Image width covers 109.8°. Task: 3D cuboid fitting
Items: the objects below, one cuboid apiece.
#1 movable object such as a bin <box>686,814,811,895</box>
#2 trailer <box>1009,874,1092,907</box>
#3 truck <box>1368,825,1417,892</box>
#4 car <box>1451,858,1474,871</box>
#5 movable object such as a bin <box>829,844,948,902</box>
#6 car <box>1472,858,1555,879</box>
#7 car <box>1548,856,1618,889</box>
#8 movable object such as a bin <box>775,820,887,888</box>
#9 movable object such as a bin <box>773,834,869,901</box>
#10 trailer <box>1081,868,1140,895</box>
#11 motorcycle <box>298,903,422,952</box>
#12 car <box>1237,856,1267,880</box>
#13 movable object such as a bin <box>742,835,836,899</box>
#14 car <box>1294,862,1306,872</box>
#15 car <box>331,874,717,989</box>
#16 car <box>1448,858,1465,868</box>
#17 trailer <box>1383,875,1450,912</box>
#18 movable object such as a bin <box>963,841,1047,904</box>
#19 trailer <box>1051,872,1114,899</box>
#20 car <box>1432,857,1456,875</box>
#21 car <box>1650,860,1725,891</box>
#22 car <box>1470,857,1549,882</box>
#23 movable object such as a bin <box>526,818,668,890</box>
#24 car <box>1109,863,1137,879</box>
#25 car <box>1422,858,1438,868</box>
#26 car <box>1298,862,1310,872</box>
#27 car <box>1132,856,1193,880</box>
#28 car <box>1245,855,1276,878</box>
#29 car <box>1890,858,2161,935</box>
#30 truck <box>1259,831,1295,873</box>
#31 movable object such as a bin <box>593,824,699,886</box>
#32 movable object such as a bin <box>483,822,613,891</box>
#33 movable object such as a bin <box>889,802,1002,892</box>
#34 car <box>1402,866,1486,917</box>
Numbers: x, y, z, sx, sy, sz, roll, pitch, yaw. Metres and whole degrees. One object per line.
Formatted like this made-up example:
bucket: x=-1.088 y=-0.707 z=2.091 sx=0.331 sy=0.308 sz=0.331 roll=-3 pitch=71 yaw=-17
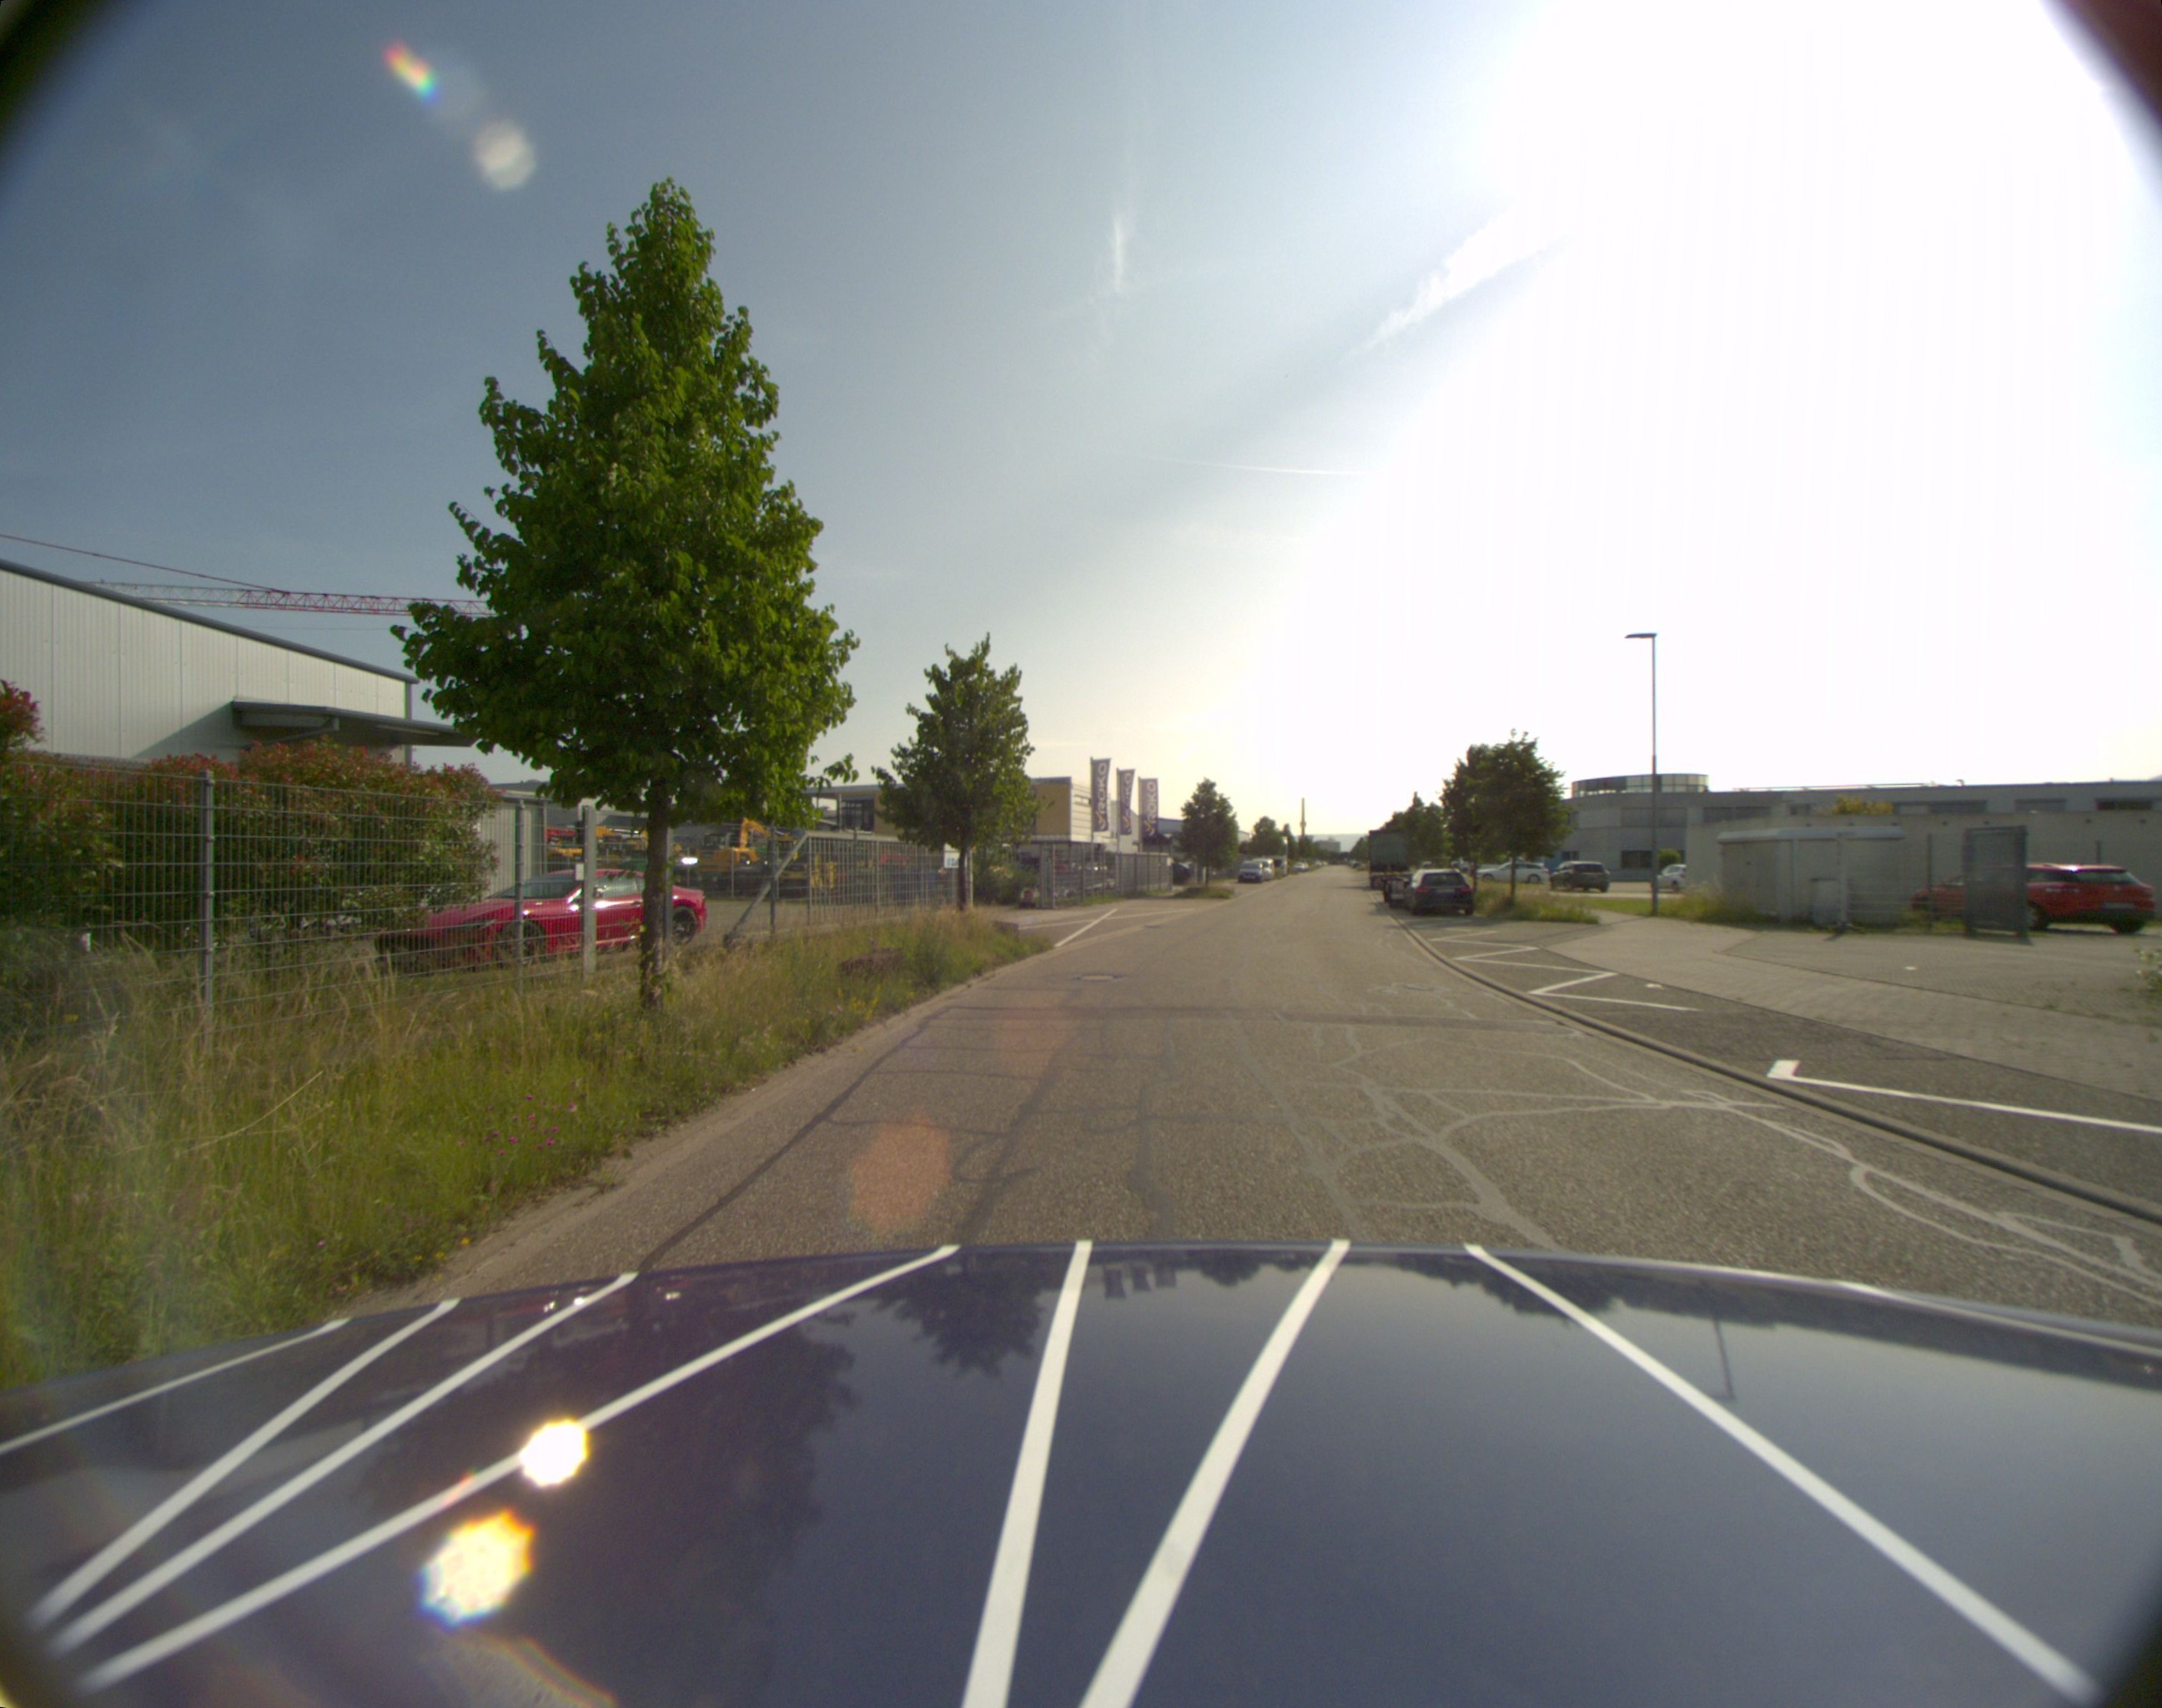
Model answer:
movable object such as a bin: x=-16.945 y=0.044 z=39.149 sx=2.686 sy=3.851 sz=5.727 roll=0 pitch=0 yaw=20
trailer: x=-1.247 y=1.566 z=33.806 sx=2.128 sy=1.236 sz=4.802 roll=0 pitch=0 yaw=18
truck: x=20.089 y=0.273 z=49.395 sx=2.458 sy=3.858 sz=9.817 roll=-2 pitch=0 yaw=20
car: x=48.248 y=1.323 z=96.197 sx=1.944 sy=1.597 sz=4.516 roll=0 pitch=-1 yaw=19
movable object such as a bin: x=-8.882 y=0.828 z=35.682 sx=2.925 sy=2.477 sz=5.347 roll=0 pitch=0 yaw=20
car: x=30.017 y=1.018 z=52.920 sx=4.732 sy=1.422 sz=2.003 roll=0 pitch=0 yaw=18
car: x=27.462 y=0.977 z=41.760 sx=1.996 sy=1.676 sz=4.706 roll=0 pitch=0 yaw=18
movable object such as a bin: x=-15.385 y=0.032 z=47.364 sx=2.921 sy=3.906 sz=7.218 roll=1 pitch=0 yaw=18
movable object such as a bin: x=-12.409 y=0.600 z=36.631 sx=1.995 sy=3.014 sz=4.499 roll=0 pitch=0 yaw=20
trailer: x=1.715 y=1.528 z=42.912 sx=1.995 sy=1.303 sz=4.570 roll=0 pitch=0 yaw=20
motorcycle: x=-13.204 y=1.319 z=13.976 sx=0.535 sy=0.747 sz=1.585 roll=1 pitch=0 yaw=19
car: x=13.134 y=1.043 z=58.248 sx=1.828 sy=1.710 sz=4.254 roll=0 pitch=0 yaw=18
movable object such as a bin: x=-14.443 y=0.629 z=37.866 sx=1.995 sy=3.014 sz=4.380 roll=0 pitch=0 yaw=20
car: x=34.149 y=2.071 z=118.315 sx=1.666 sy=1.495 sz=3.546 roll=2 pitch=0 yaw=19
car: x=-8.286 y=1.035 z=12.023 sx=1.883 sy=1.350 sz=4.779 roll=0 pitch=0 yaw=16
car: x=53.394 y=1.292 z=107.975 sx=1.756 sy=1.459 sz=3.924 roll=0 pitch=-1 yaw=20
trailer: x=13.337 y=1.514 z=30.600 sx=2.132 sy=1.225 sz=7.169 roll=-2 pitch=-1 yaw=21
movable object such as a bin: x=-3.448 y=0.812 z=35.683 sx=1.888 sy=2.736 sz=5.168 roll=0 pitch=0 yaw=20
trailer: x=0.139 y=1.539 z=38.236 sx=1.946 sy=1.236 sz=4.300 roll=0 pitch=0 yaw=18
car: x=41.934 y=1.432 z=87.888 sx=1.883 sy=2.001 sz=4.999 roll=1 pitch=-1 yaw=19
car: x=32.111 y=1.085 z=40.379 sx=1.707 sy=1.507 sz=4.219 roll=1 pitch=0 yaw=18
car: x=31.184 y=1.123 z=55.459 sx=4.709 sy=1.825 sz=2.106 roll=-1 pitch=0 yaw=19
movable object such as a bin: x=-28.216 y=-0.017 z=44.743 sx=2.469 sy=3.906 sz=7.211 roll=1 pitch=0 yaw=15
car: x=4.171 y=1.684 z=74.776 sx=1.892 sy=1.547 sz=4.376 roll=0 pitch=-1 yaw=14
car: x=50.022 y=1.236 z=109.040 sx=1.756 sy=1.401 sz=3.924 roll=0 pitch=-1 yaw=20
car: x=36.906 y=2.116 z=125.856 sx=1.691 sy=1.495 sz=3.546 roll=2 pitch=0 yaw=19
car: x=6.029 y=1.035 z=55.982 sx=4.231 sy=1.727 sz=1.901 roll=0 pitch=0 yaw=12
car: x=14.898 y=0.987 z=62.889 sx=1.995 sy=1.779 sz=4.606 roll=0 pitch=0 yaw=20
car: x=21.200 y=0.900 z=17.270 sx=1.773 sy=1.516 sz=4.310 roll=0 pitch=-1 yaw=14
truck: x=20.247 y=-0.124 z=78.272 sx=2.748 sy=3.991 sz=9.701 roll=2 pitch=0 yaw=19
movable object such as a bin: x=-29.255 y=0.046 z=51.381 sx=2.721 sy=3.906 sz=6.030 roll=1 pitch=0 yaw=15
movable object such as a bin: x=-31.306 y=0.121 z=44.964 sx=2.454 sy=3.759 sz=6.150 roll=1 pitch=0 yaw=15
movable object such as a bin: x=-7.720 y=-0.315 z=44.664 sx=3.320 sy=4.778 sz=7.684 roll=0 pitch=-1 yaw=18
car: x=11.706 y=1.158 z=24.766 sx=1.996 sy=1.458 sz=4.439 roll=-2 pitch=-1 yaw=20
